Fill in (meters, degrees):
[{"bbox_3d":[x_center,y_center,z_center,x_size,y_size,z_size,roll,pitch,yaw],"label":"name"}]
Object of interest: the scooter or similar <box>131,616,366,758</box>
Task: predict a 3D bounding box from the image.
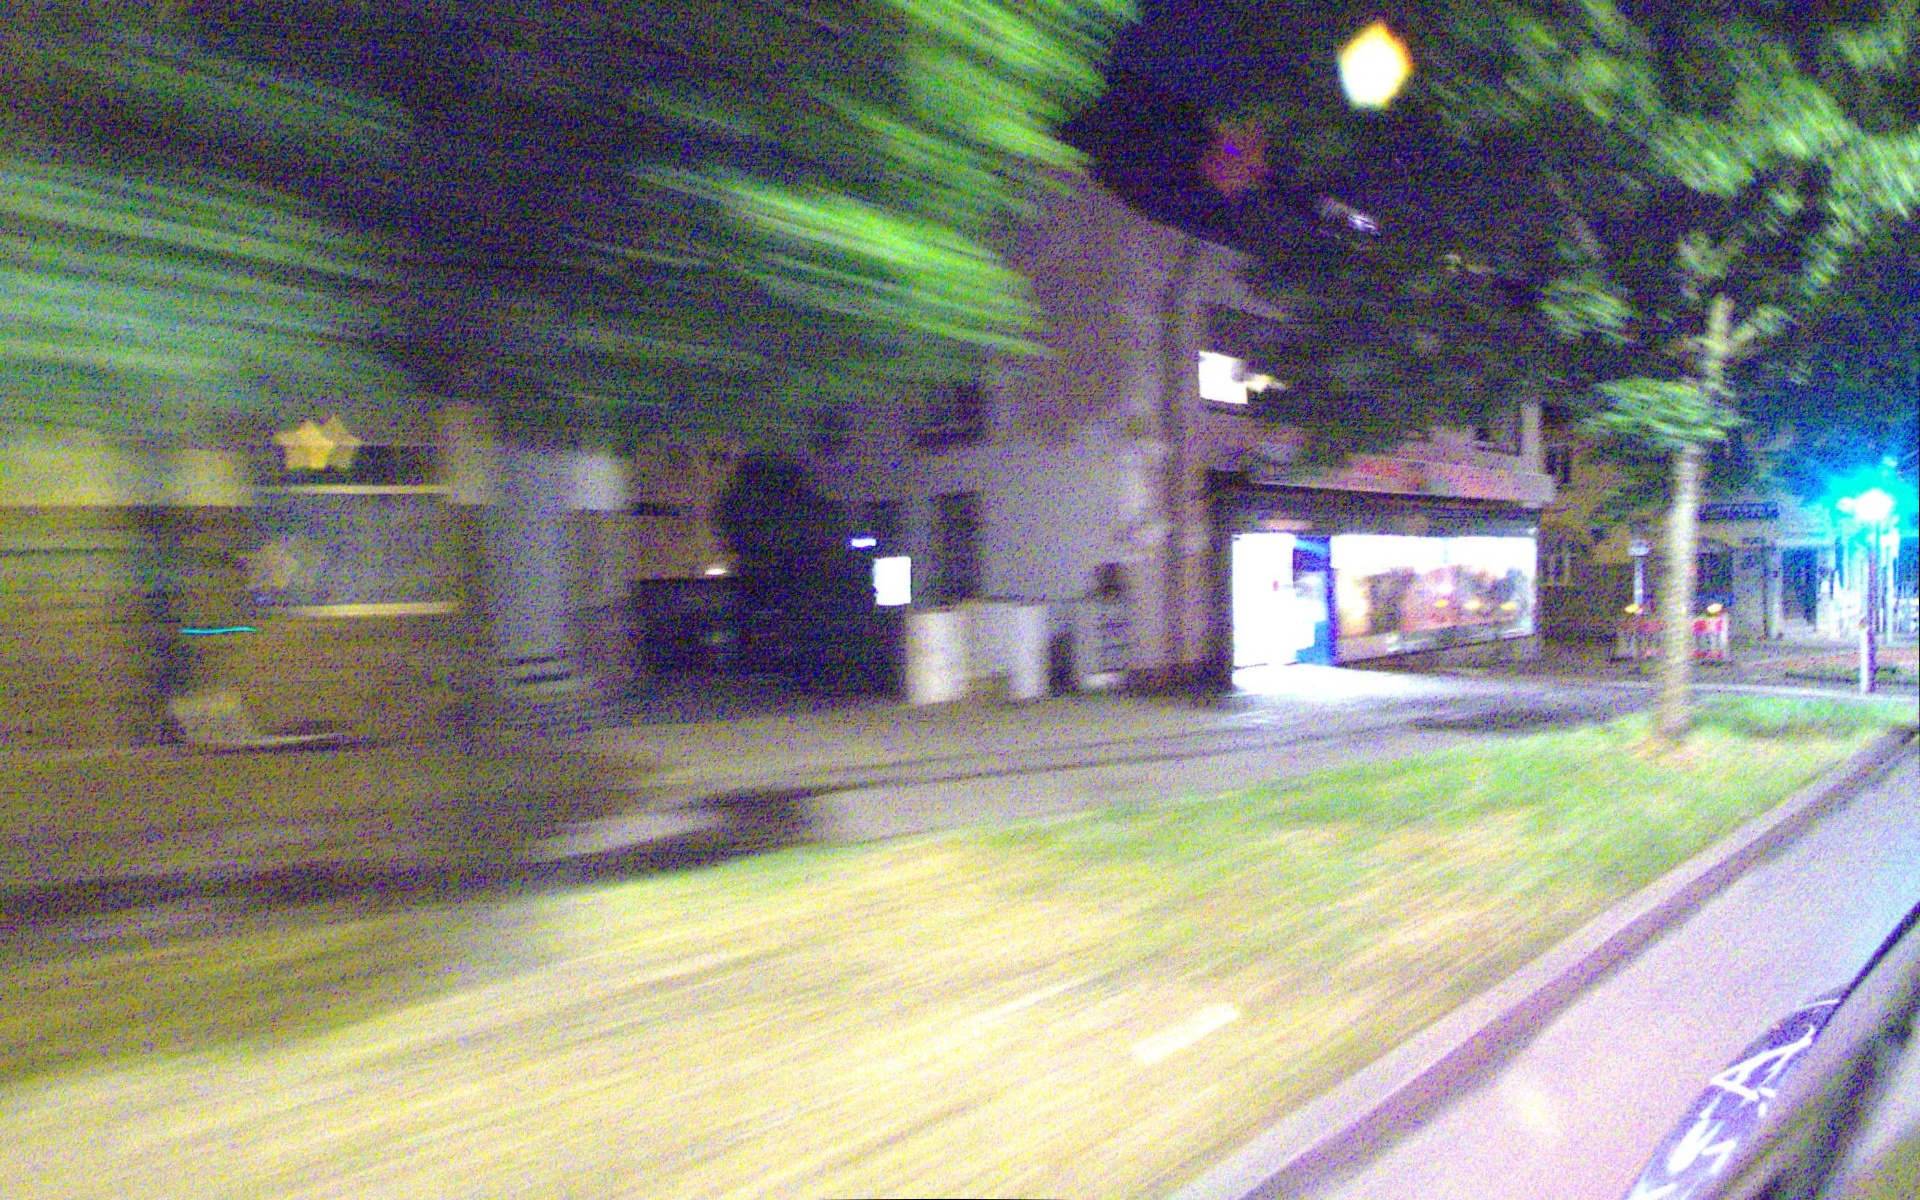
[{"bbox_3d":[-6.334,0.749,9.093,1.631,1.159,0.501,-1,3,-16],"label":"scooter or similar"}]
